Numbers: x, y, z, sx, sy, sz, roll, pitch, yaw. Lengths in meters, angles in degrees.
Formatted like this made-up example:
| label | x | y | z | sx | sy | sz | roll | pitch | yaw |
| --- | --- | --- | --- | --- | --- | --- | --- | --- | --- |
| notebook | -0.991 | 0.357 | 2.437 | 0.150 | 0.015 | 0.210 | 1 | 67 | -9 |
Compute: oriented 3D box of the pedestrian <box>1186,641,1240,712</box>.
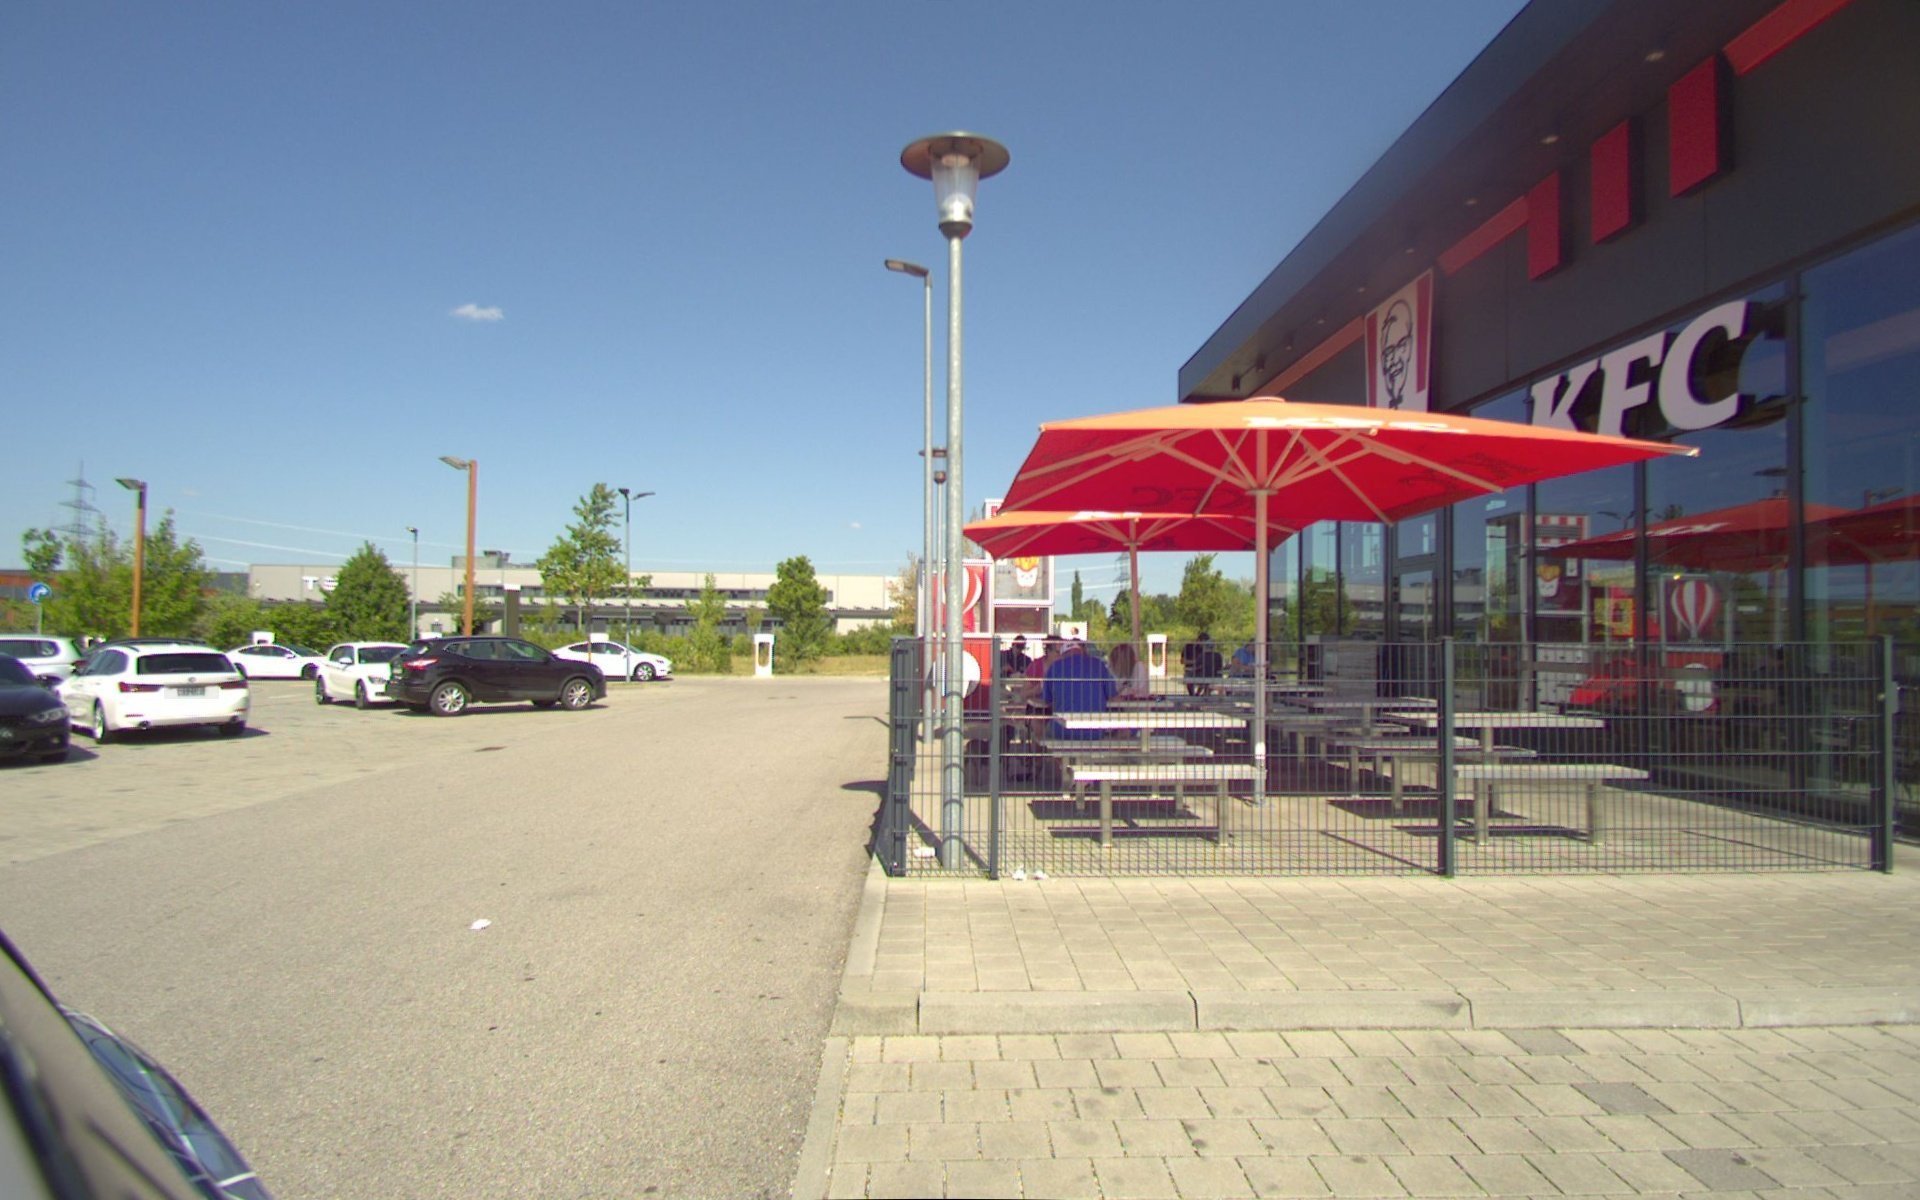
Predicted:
| label | x | y | z | sx | sy | sz | roll | pitch | yaw |
| --- | --- | --- | --- | --- | --- | --- | --- | --- | --- |
| pedestrian | 4.433 | 1.325 | 17.755 | 0.744 | 1.209 | 0.695 | 0 | -2 | -1 |

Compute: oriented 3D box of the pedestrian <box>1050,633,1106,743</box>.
| label | x | y | z | sx | sy | sz | roll | pitch | yaw |
| --- | --- | --- | --- | --- | --- | --- | --- | --- | --- |
| pedestrian | 1.460 | 1.071 | 12.552 | 0.657 | 1.314 | 0.710 | -1 | -2 | 7 |

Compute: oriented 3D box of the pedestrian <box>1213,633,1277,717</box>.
| label | x | y | z | sx | sy | sz | roll | pitch | yaw |
| --- | --- | --- | --- | --- | --- | --- | --- | --- | --- |
| pedestrian | 4.667 | 1.216 | 16.639 | 0.744 | 1.322 | 0.945 | 0 | -2 | -1 |

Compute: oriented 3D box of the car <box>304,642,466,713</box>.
| label | x | y | z | sx | sy | sz | roll | pitch | yaw |
| --- | --- | --- | --- | --- | --- | --- | --- | --- | --- |
| car | -13.272 | 1.725 | 23.263 | 4.204 | 1.471 | 1.948 | -3 | -3 | 41 |

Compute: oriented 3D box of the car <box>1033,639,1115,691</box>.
| label | x | y | z | sx | sy | sz | roll | pitch | yaw |
| --- | --- | --- | --- | --- | --- | --- | --- | --- | --- |
| car | 3.266 | 1.859 | 29.815 | 1.704 | 1.422 | 4.317 | 0 | -2 | -3 |

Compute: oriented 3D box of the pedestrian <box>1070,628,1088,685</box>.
| label | x | y | z | sx | sy | sz | roll | pitch | yaw |
| --- | --- | --- | --- | --- | --- | --- | --- | --- | --- |
| pedestrian | 3.820 | 1.812 | 32.531 | 0.518 | 1.787 | 0.537 | -1 | -2 | 4 |

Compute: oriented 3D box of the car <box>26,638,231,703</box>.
| label | x | y | z | sx | sy | sz | roll | pitch | yaw |
| --- | --- | --- | --- | --- | --- | --- | --- | --- | --- |
| car | -21.930 | 1.800 | 26.799 | 1.754 | 1.564 | 3.945 | -3 | -3 | 41 |

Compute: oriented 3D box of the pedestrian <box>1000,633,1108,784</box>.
| label | x | y | z | sx | sy | sz | roll | pitch | yaw |
| --- | --- | --- | --- | --- | --- | --- | --- | --- | --- |
| pedestrian | 0.833 | 0.942 | 9.118 | 0.674 | 1.283 | 0.844 | 0 | -3 | -18 |

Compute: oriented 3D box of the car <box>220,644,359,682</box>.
| label | x | y | z | sx | sy | sz | roll | pitch | yaw |
| --- | --- | --- | --- | --- | --- | --- | --- | --- | --- |
| car | -26.633 | 2.495 | 40.296 | 4.271 | 1.490 | 1.842 | 0 | -2 | -1 |

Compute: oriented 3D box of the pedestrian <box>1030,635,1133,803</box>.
| label | x | y | z | sx | sy | sz | roll | pitch | yaw |
| --- | --- | --- | --- | --- | --- | --- | --- | --- | --- |
| pedestrian | 0.970 | 0.930 | 8.166 | 0.603 | 1.283 | 0.626 | 0 | -3 | -18 |

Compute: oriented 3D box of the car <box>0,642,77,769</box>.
| label | x | y | z | sx | sy | sz | roll | pitch | yaw |
| --- | --- | --- | --- | --- | --- | --- | --- | --- | --- |
| car | -12.987 | 1.290 | 12.946 | 4.365 | 1.471 | 1.812 | -2 | -3 | 39 |

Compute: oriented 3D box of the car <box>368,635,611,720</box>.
| label | x | y | z | sx | sy | sz | roll | pitch | yaw |
| --- | --- | --- | --- | --- | --- | --- | --- | --- | --- |
| car | -9.792 | 1.568 | 21.272 | 1.858 | 1.603 | 4.240 | -3 | -4 | 45 |

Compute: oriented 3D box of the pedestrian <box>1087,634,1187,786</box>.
| label | x | y | z | sx | sy | sz | roll | pitch | yaw |
| --- | --- | --- | --- | --- | --- | --- | --- | --- | --- |
| pedestrian | 1.569 | 0.951 | 9.004 | 0.674 | 1.283 | 0.553 | 0 | -3 | -18 |

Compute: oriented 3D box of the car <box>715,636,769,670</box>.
| label | x | y | z | sx | sy | sz | roll | pitch | yaw |
| --- | --- | --- | --- | --- | --- | --- | --- | --- | --- |
| car | -11.952 | 2.885 | 55.809 | 1.894 | 1.763 | 4.252 | -1 | -2 | 3 |

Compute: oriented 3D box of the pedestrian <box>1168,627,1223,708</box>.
| label | x | y | z | sx | sy | sz | roll | pitch | yaw |
| --- | --- | --- | --- | --- | --- | --- | --- | --- | --- |
| pedestrian | 4.309 | 1.233 | 18.571 | 0.786 | 1.454 | 0.694 | 0 | -2 | -3 |

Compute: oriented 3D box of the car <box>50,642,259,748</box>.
| label | x | y | z | sx | sy | sz | roll | pitch | yaw |
| --- | --- | --- | --- | --- | --- | --- | --- | --- | --- |
| car | -13.080 | 1.430 | 16.325 | 4.581 | 1.471 | 1.811 | -3 | -3 | 41 |

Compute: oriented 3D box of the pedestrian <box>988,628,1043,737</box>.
| label | x | y | z | sx | sy | sz | roll | pitch | yaw |
| --- | --- | --- | --- | --- | --- | --- | --- | --- | --- |
| pedestrian | 0.743 | 1.076 | 13.377 | 0.657 | 1.398 | 0.806 | -1 | -2 | 7 |

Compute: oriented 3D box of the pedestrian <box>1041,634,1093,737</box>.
| label | x | y | z | sx | sy | sz | roll | pitch | yaw |
| --- | --- | --- | --- | --- | --- | --- | --- | --- | --- |
| pedestrian | 1.419 | 1.117 | 13.414 | 0.657 | 1.314 | 0.685 | -1 | -2 | 7 |

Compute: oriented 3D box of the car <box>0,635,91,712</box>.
| label | x | y | z | sx | sy | sz | roll | pitch | yaw |
| --- | --- | --- | --- | --- | --- | --- | --- | --- | --- |
| car | -22.266 | 1.635 | 22.682 | 1.814 | 1.687 | 4.055 | -2 | -3 | 44 |

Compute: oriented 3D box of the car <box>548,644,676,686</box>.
| label | x | y | z | sx | sy | sz | roll | pitch | yaw |
| --- | --- | --- | --- | --- | --- | --- | --- | --- | --- |
| car | -13.778 | 2.566 | 40.235 | 4.506 | 1.605 | 1.844 | 0 | -2 | -5 |

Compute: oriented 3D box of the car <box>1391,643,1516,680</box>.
| label | x | y | z | sx | sy | sz | roll | pitch | yaw |
| --- | --- | --- | --- | --- | --- | --- | --- | --- | --- |
| car | 21.680 | 2.691 | 44.580 | 4.368 | 1.538 | 2.219 | 0 | -1 | -2 |
